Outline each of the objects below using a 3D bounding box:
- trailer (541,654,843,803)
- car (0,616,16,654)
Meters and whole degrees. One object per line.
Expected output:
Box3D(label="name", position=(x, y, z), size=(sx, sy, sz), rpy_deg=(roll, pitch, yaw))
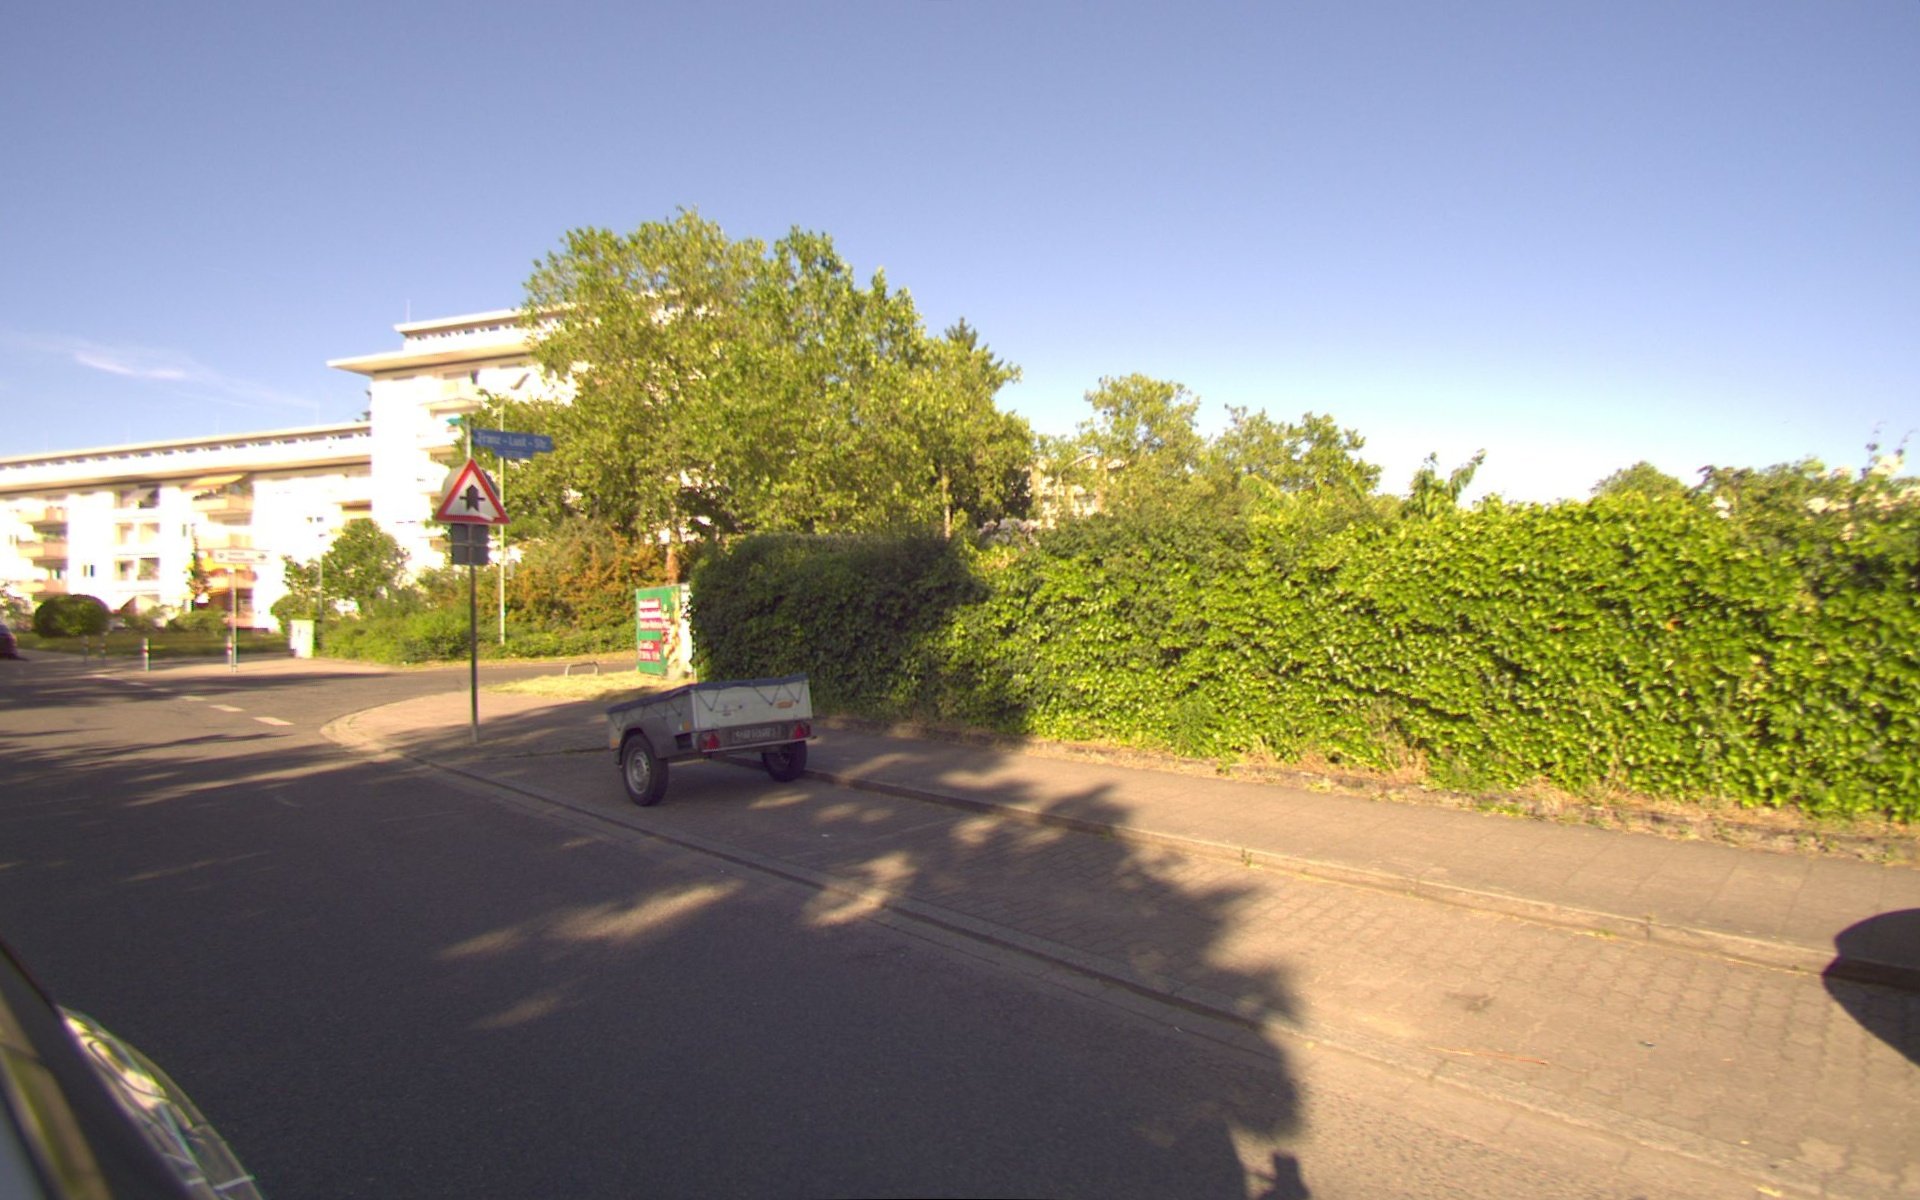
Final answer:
Box3D(label="trailer", position=(-2.420, 1.015, 8.870), size=(1.525, 0.960, 2.650), rpy_deg=(0, -1, -42))
Box3D(label="car", position=(-39.035, 1.408, 40.166), size=(4.678, 1.475, 1.710), rpy_deg=(-2, -4, 40))
